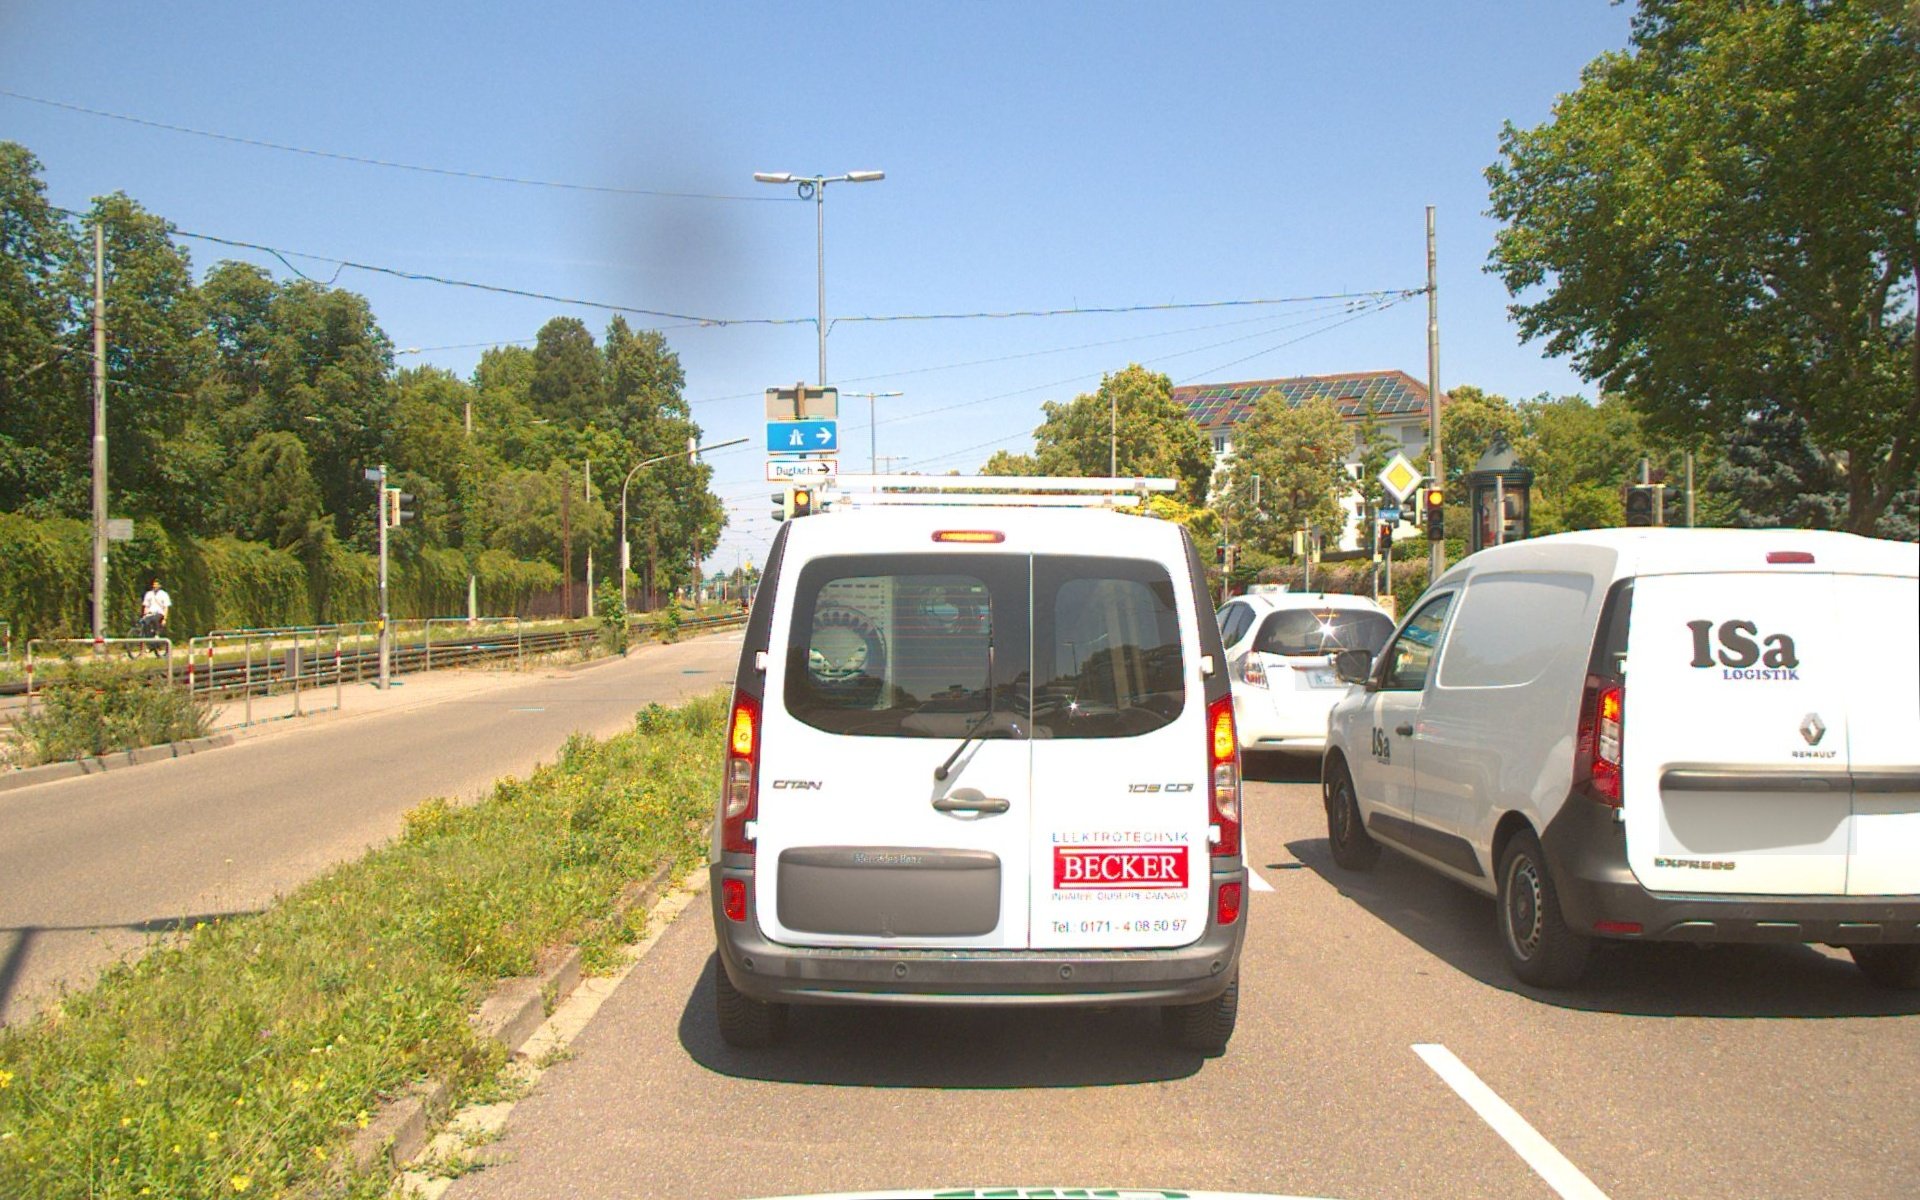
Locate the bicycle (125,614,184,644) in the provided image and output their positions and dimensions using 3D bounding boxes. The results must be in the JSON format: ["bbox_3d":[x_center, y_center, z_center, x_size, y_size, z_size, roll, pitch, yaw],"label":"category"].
[{"bbox_3d":[-19.078,0.680,39.199,0.549,0.659,1.720,0,0,0],"label":"bicycle"}]

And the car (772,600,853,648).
[{"bbox_3d":[-4.684,0.733,52.143,1.666,1.334,3.863,2,0,-19],"label":"car"}]

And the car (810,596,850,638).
[{"bbox_3d":[-6.605,0.831,84.330,1.954,2.049,3.998,0,0,-3],"label":"car"}]

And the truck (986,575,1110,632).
[{"bbox_3d":[3.265,0.107,63.082,2.266,2.049,6.686,0,0,-20],"label":"truck"}]

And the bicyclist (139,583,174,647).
[{"bbox_3d":[-19.079,0.364,39.293,0.546,1.504,0.561,0,0,0],"label":"bicyclist"}]

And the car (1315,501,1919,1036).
[{"bbox_3d":[3.007,0.575,7.801,1.676,1.862,4.012,0,0,-2],"label":"car"}]

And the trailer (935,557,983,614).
[{"bbox_3d":[-0.105,-1.091,123.944,3.456,4.121,8.976,0,0,-1],"label":"trailer"}]

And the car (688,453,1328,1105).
[{"bbox_3d":[0.103,0.518,6.715,1.829,1.868,3.848,1,0,-1],"label":"car"}]

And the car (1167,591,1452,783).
[{"bbox_3d":[3.042,0.687,15.214,1.720,1.512,3.999,1,0,-1],"label":"car"}]

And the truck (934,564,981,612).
[{"bbox_3d":[-0.277,-0.939,132.853,3.504,3.696,8.806,0,0,-2],"label":"truck"}]
